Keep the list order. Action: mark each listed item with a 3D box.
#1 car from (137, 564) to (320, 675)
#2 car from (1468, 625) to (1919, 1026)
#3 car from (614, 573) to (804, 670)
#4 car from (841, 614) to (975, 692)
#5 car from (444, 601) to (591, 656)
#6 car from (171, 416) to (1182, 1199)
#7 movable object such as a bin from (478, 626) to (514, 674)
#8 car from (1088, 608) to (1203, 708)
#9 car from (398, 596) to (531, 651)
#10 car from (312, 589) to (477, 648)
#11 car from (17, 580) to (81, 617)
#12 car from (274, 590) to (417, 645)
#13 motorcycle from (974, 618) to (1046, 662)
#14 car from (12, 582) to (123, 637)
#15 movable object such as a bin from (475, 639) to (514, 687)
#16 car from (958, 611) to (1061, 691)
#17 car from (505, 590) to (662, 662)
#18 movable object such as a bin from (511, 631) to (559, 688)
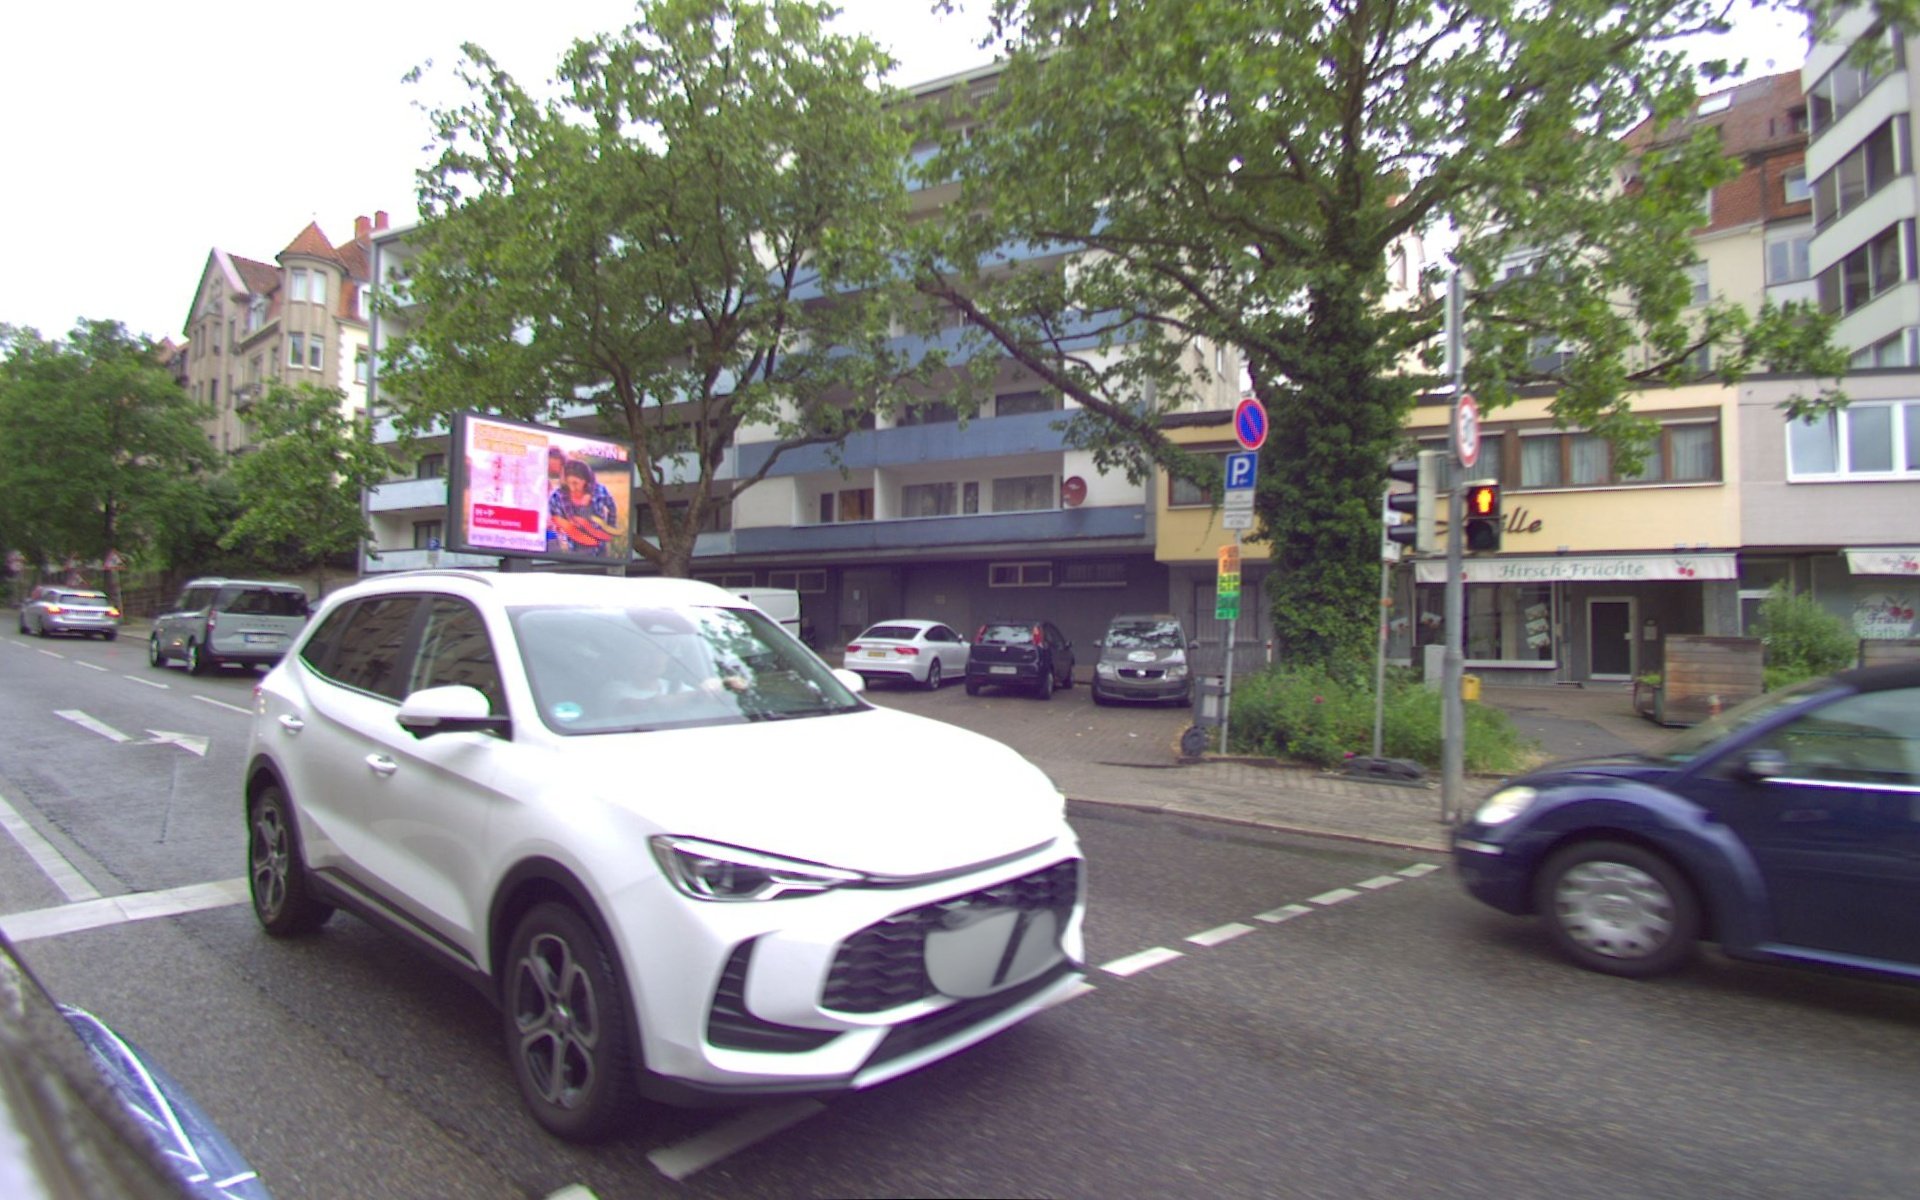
[{"bbox_3d":[-14.515,0.381,19.999,4.238,1.896,1.795,1,-5,40],"label":"car"},{"bbox_3d":[4.402,0.922,4.333,3.682,1.508,1.695,-1,-5,42],"label":"car"},{"bbox_3d":[-5.677,0.463,23.630,1.866,1.992,4.944,1,0,20],"label":"car"},{"bbox_3d":[-0.986,1.043,21.249,1.795,1.426,3.688,1,0,14],"label":"car"},{"bbox_3d":[-12.362,0.782,28.521,1.678,1.416,3.812,1,-1,19],"label":"car"},{"bbox_3d":[-1.496,0.451,4.105,4.374,1.657,1.735,1,-1,39],"label":"car"},{"bbox_3d":[-9.699,1.031,21.146,0.511,0.971,0.479,1,-1,37],"label":"movable object such as a bin"},{"bbox_3d":[3.527,1.002,19.365,1.920,1.655,4.203,1,0,10],"label":"car"},{"bbox_3d":[-14.559,0.638,29.972,1.661,1.416,3.826,1,1,9],"label":"car"},{"bbox_3d":[-16.698,0.509,30.143,1.795,1.605,4.290,1,0,16],"label":"car"},{"bbox_3d":[-42.827,-0.065,47.562,3.885,1.517,1.730,0,-5,42],"label":"car"},{"bbox_3d":[-19.390,0.497,32.126,1.753,1.543,3.822,1,1,12],"label":"car"},{"bbox_3d":[1.426,1.139,29.179,1.953,1.176,0.697,1,-1,30],"label":"motorcycle"},{"bbox_3d":[-26.811,0.267,30.357,4.321,1.459,1.709,1,-4,39],"label":"car"},{"bbox_3d":[-9.197,1.242,20.004,0.545,0.908,0.479,1,-1,37],"label":"movable object such as a bin"},{"bbox_3d":[1.084,0.961,20.491,1.613,1.426,3.610,1,0,10],"label":"car"},{"bbox_3d":[-9.792,0.671,26.618,1.794,1.702,3.809,2,-1,21],"label":"car"},{"bbox_3d":[-8.514,1.180,20.272,0.627,1.088,0.635,1,-1,37],"label":"movable object such as a bin"}]
